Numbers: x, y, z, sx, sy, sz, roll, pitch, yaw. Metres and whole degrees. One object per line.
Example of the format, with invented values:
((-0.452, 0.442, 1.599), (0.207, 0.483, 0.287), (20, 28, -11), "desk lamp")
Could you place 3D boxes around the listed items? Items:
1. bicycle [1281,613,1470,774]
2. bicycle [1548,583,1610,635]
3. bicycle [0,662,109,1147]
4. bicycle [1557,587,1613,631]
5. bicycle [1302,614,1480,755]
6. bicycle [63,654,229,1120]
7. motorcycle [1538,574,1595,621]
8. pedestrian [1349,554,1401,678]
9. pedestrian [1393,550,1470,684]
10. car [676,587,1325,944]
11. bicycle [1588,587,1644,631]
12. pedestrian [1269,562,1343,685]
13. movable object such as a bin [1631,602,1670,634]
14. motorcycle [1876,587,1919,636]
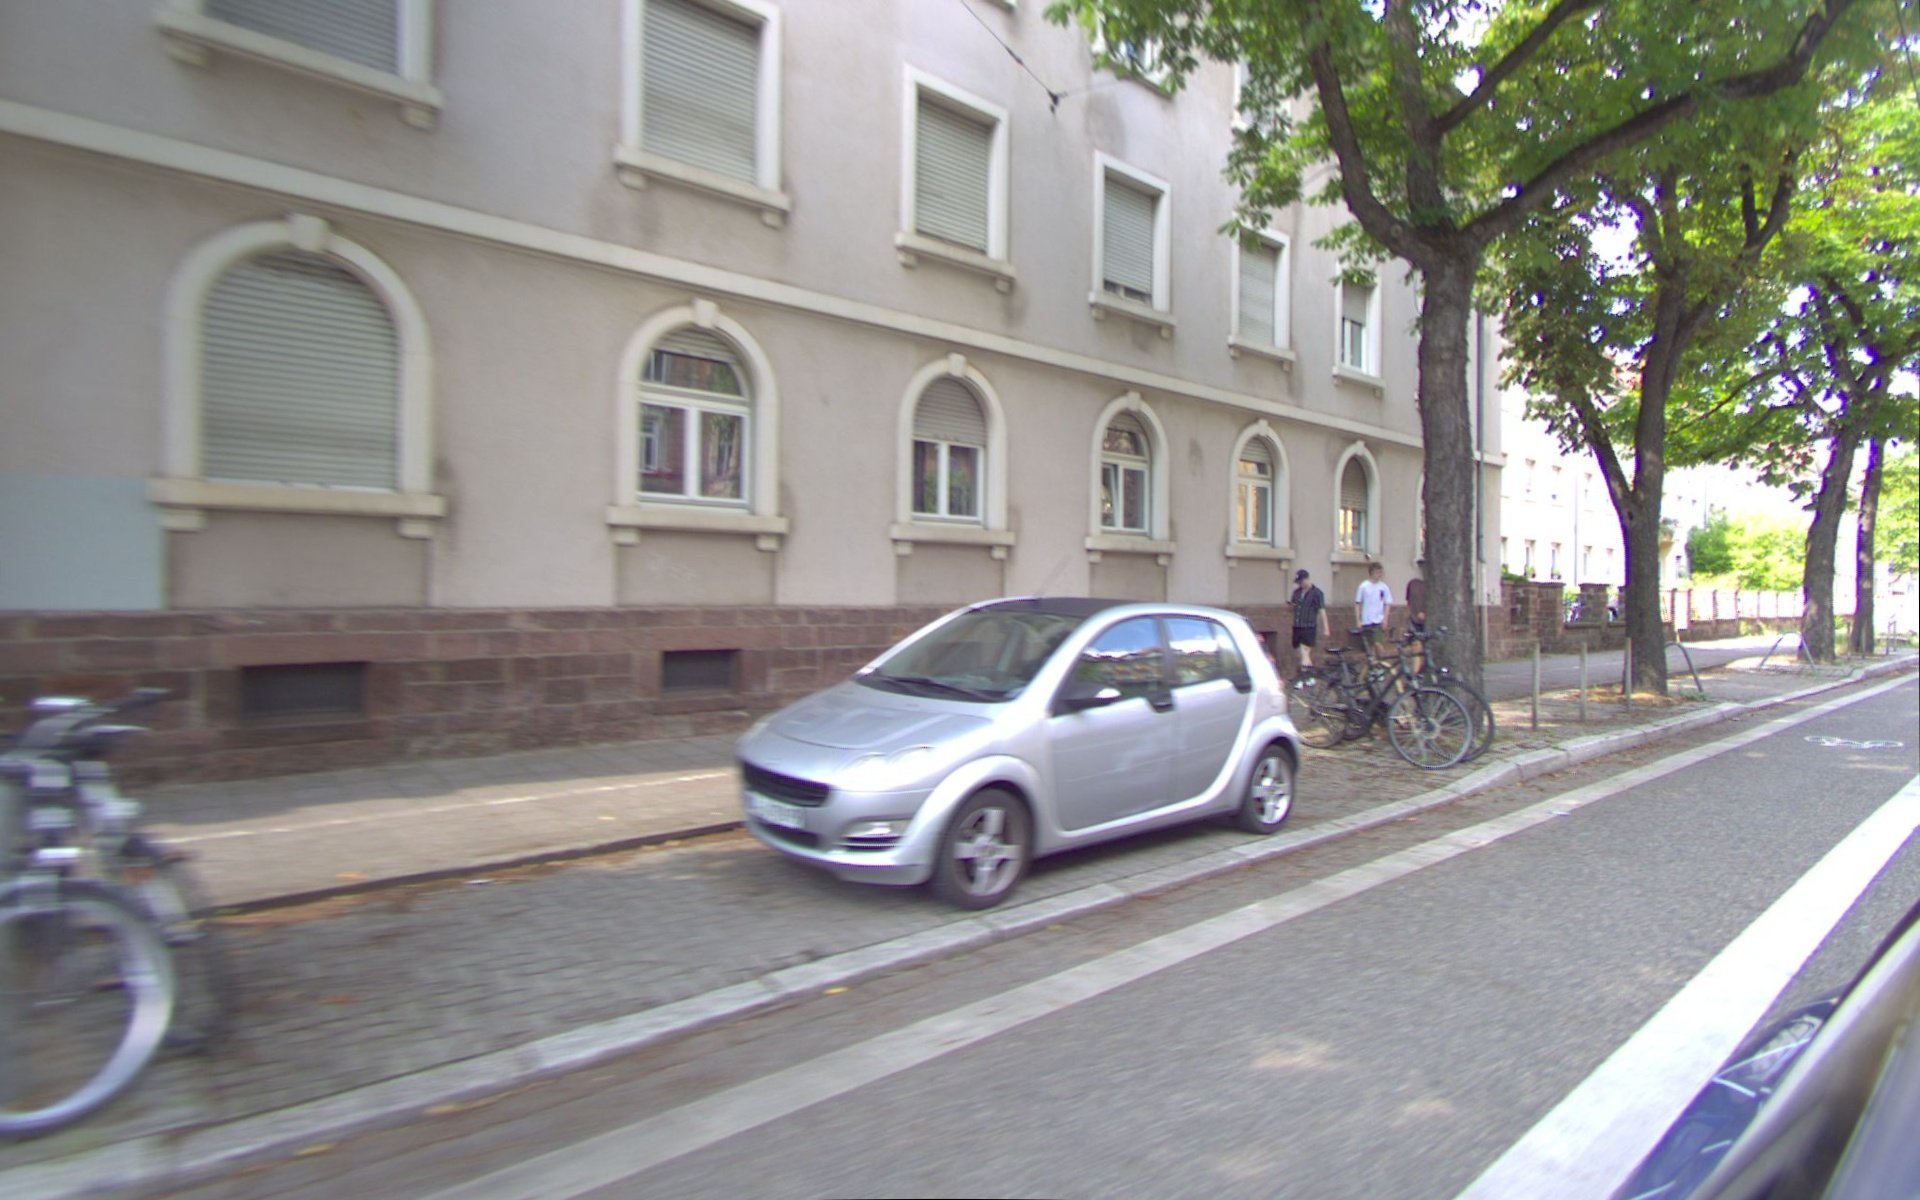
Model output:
((3.574, 0.754, 8.815), (0.508, 1.236, 1.493), (-1, 1, -33), "bicycle")
((16.664, 0.209, 27.208), (2.553, 1.335, 0.653), (-1, 0, -41), "bicycle")
((-2.896, 0.786, 3.088), (0.342, 1.084, 1.652), (0, 0, -36), "bicycle")
((18.356, 0.244, 29.701), (2.553, 1.206, 0.653), (-1, 0, -41), "bicycle")
((3.945, 0.727, 9.360), (0.508, 1.167, 1.493), (0, 0, -33), "bicycle")
((-2.632, 0.769, 3.336), (0.342, 1.084, 1.652), (0, 0, -37), "bicycle")
((19.259, -0.096, 32.110), (2.553, 1.432, 0.752), (-1, 0, -41), "motorcycle")
((6.407, 0.236, 15.628), (0.675, 1.876, 0.505), (0, 0, -41), "pedestrian")
((7.001, 0.244, 15.034), (0.870, 1.913, 0.755), (0, 0, -41), "pedestrian")
((0.450, 0.662, 6.015), (3.830, 1.463, 1.588), (0, 0, -41), "car")
((18.871, 0.240, 29.101), (2.553, 1.206, 0.653), (-1, 0, -41), "bicycle")
((4.876, 0.312, 14.247), (0.959, 1.660, 0.581), (0, 0, -41), "pedestrian")
((21.025, 0.542, 30.803), (0.739, 0.928, 0.829), (0, 0, -41), "movable object such as a bin")
((30.186, 0.341, 31.950), (0.796, 1.512, 2.067), (0, 1, 6), "motorcycle")
